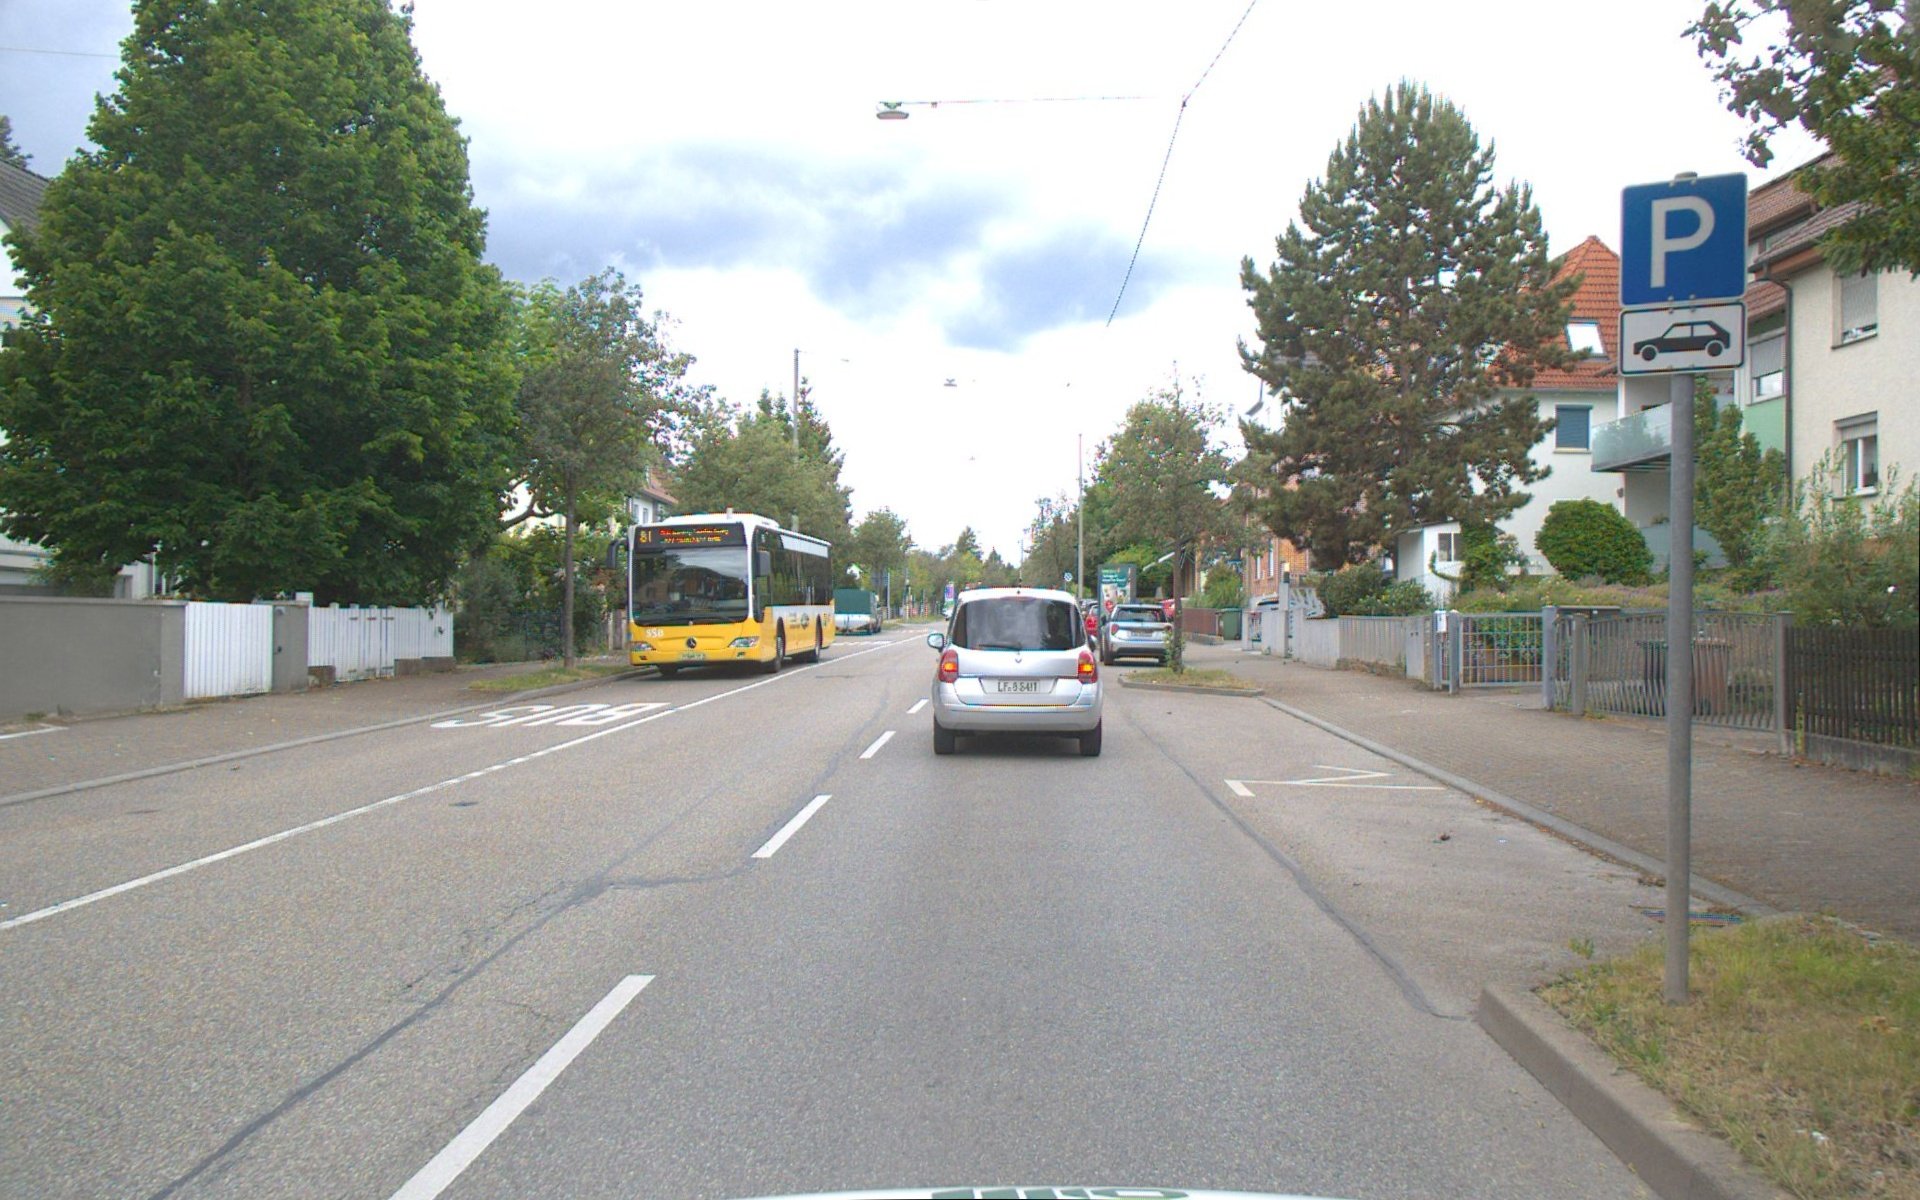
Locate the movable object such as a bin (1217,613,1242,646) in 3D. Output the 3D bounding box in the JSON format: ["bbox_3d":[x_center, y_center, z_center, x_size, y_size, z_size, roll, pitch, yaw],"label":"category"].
[{"bbox_3d":[9.253,1.013,56.765,0.760,1.123,0.691,0,-1,1],"label":"movable object such as a bin"}]

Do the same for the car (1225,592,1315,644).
[{"bbox_3d":[10.053,0.550,53.388,1.782,1.404,4.478,-4,0,24],"label":"car"}]

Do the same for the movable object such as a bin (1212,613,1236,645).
[{"bbox_3d":[9.308,1.015,58.261,0.760,1.123,0.691,0,-1,1],"label":"movable object such as a bin"}]

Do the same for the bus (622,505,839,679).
[{"bbox_3d":[-4.644,-0.107,36.283,2.577,3.140,12.072,-1,0,2],"label":"bus"}]

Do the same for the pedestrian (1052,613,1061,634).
[{"bbox_3d":[7.449,1.814,127.686,0.691,1.676,0.773,0,-1,1],"label":"pedestrian"}]

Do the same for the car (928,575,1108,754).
[{"bbox_3d":[0.623,0.643,17.187,1.596,1.584,4.001,2,-2,3],"label":"car"}]

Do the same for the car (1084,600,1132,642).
[{"bbox_3d":[5.218,0.738,58.710,1.627,1.417,3.669,0,0,4],"label":"car"}]

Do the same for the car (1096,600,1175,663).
[{"bbox_3d":[4.185,0.770,39.924,1.616,1.407,4.001,1,-2,2],"label":"car"}]

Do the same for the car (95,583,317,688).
[{"bbox_3d":[-12.766,0.563,28.342,1.770,1.591,4.616,-2,0,-2],"label":"car"}]

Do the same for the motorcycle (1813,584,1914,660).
[{"bbox_3d":[14.078,0.349,25.781,1.199,1.064,0.584,-5,-2,-10],"label":"motorcycle"}]

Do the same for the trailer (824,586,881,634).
[{"bbox_3d":[-5.150,0.529,79.916,2.264,2.123,5.872,2,-2,0],"label":"trailer"}]

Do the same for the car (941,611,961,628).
[{"bbox_3d":[-0.976,2.082,175.551,1.868,1.646,3.997,1,-2,-3],"label":"car"}]

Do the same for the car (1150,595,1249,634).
[{"bbox_3d":[10.457,0.632,72.294,3.911,1.523,1.807,-3,-1,-7],"label":"car"}]

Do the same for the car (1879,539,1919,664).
[{"bbox_3d":[15.364,-0.164,23.069,3.908,1.733,1.884,-5,-3,-2],"label":"car"}]

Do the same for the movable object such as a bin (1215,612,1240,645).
[{"bbox_3d":[9.311,0.996,57.522,0.760,1.123,0.691,0,-1,1],"label":"movable object such as a bin"}]
